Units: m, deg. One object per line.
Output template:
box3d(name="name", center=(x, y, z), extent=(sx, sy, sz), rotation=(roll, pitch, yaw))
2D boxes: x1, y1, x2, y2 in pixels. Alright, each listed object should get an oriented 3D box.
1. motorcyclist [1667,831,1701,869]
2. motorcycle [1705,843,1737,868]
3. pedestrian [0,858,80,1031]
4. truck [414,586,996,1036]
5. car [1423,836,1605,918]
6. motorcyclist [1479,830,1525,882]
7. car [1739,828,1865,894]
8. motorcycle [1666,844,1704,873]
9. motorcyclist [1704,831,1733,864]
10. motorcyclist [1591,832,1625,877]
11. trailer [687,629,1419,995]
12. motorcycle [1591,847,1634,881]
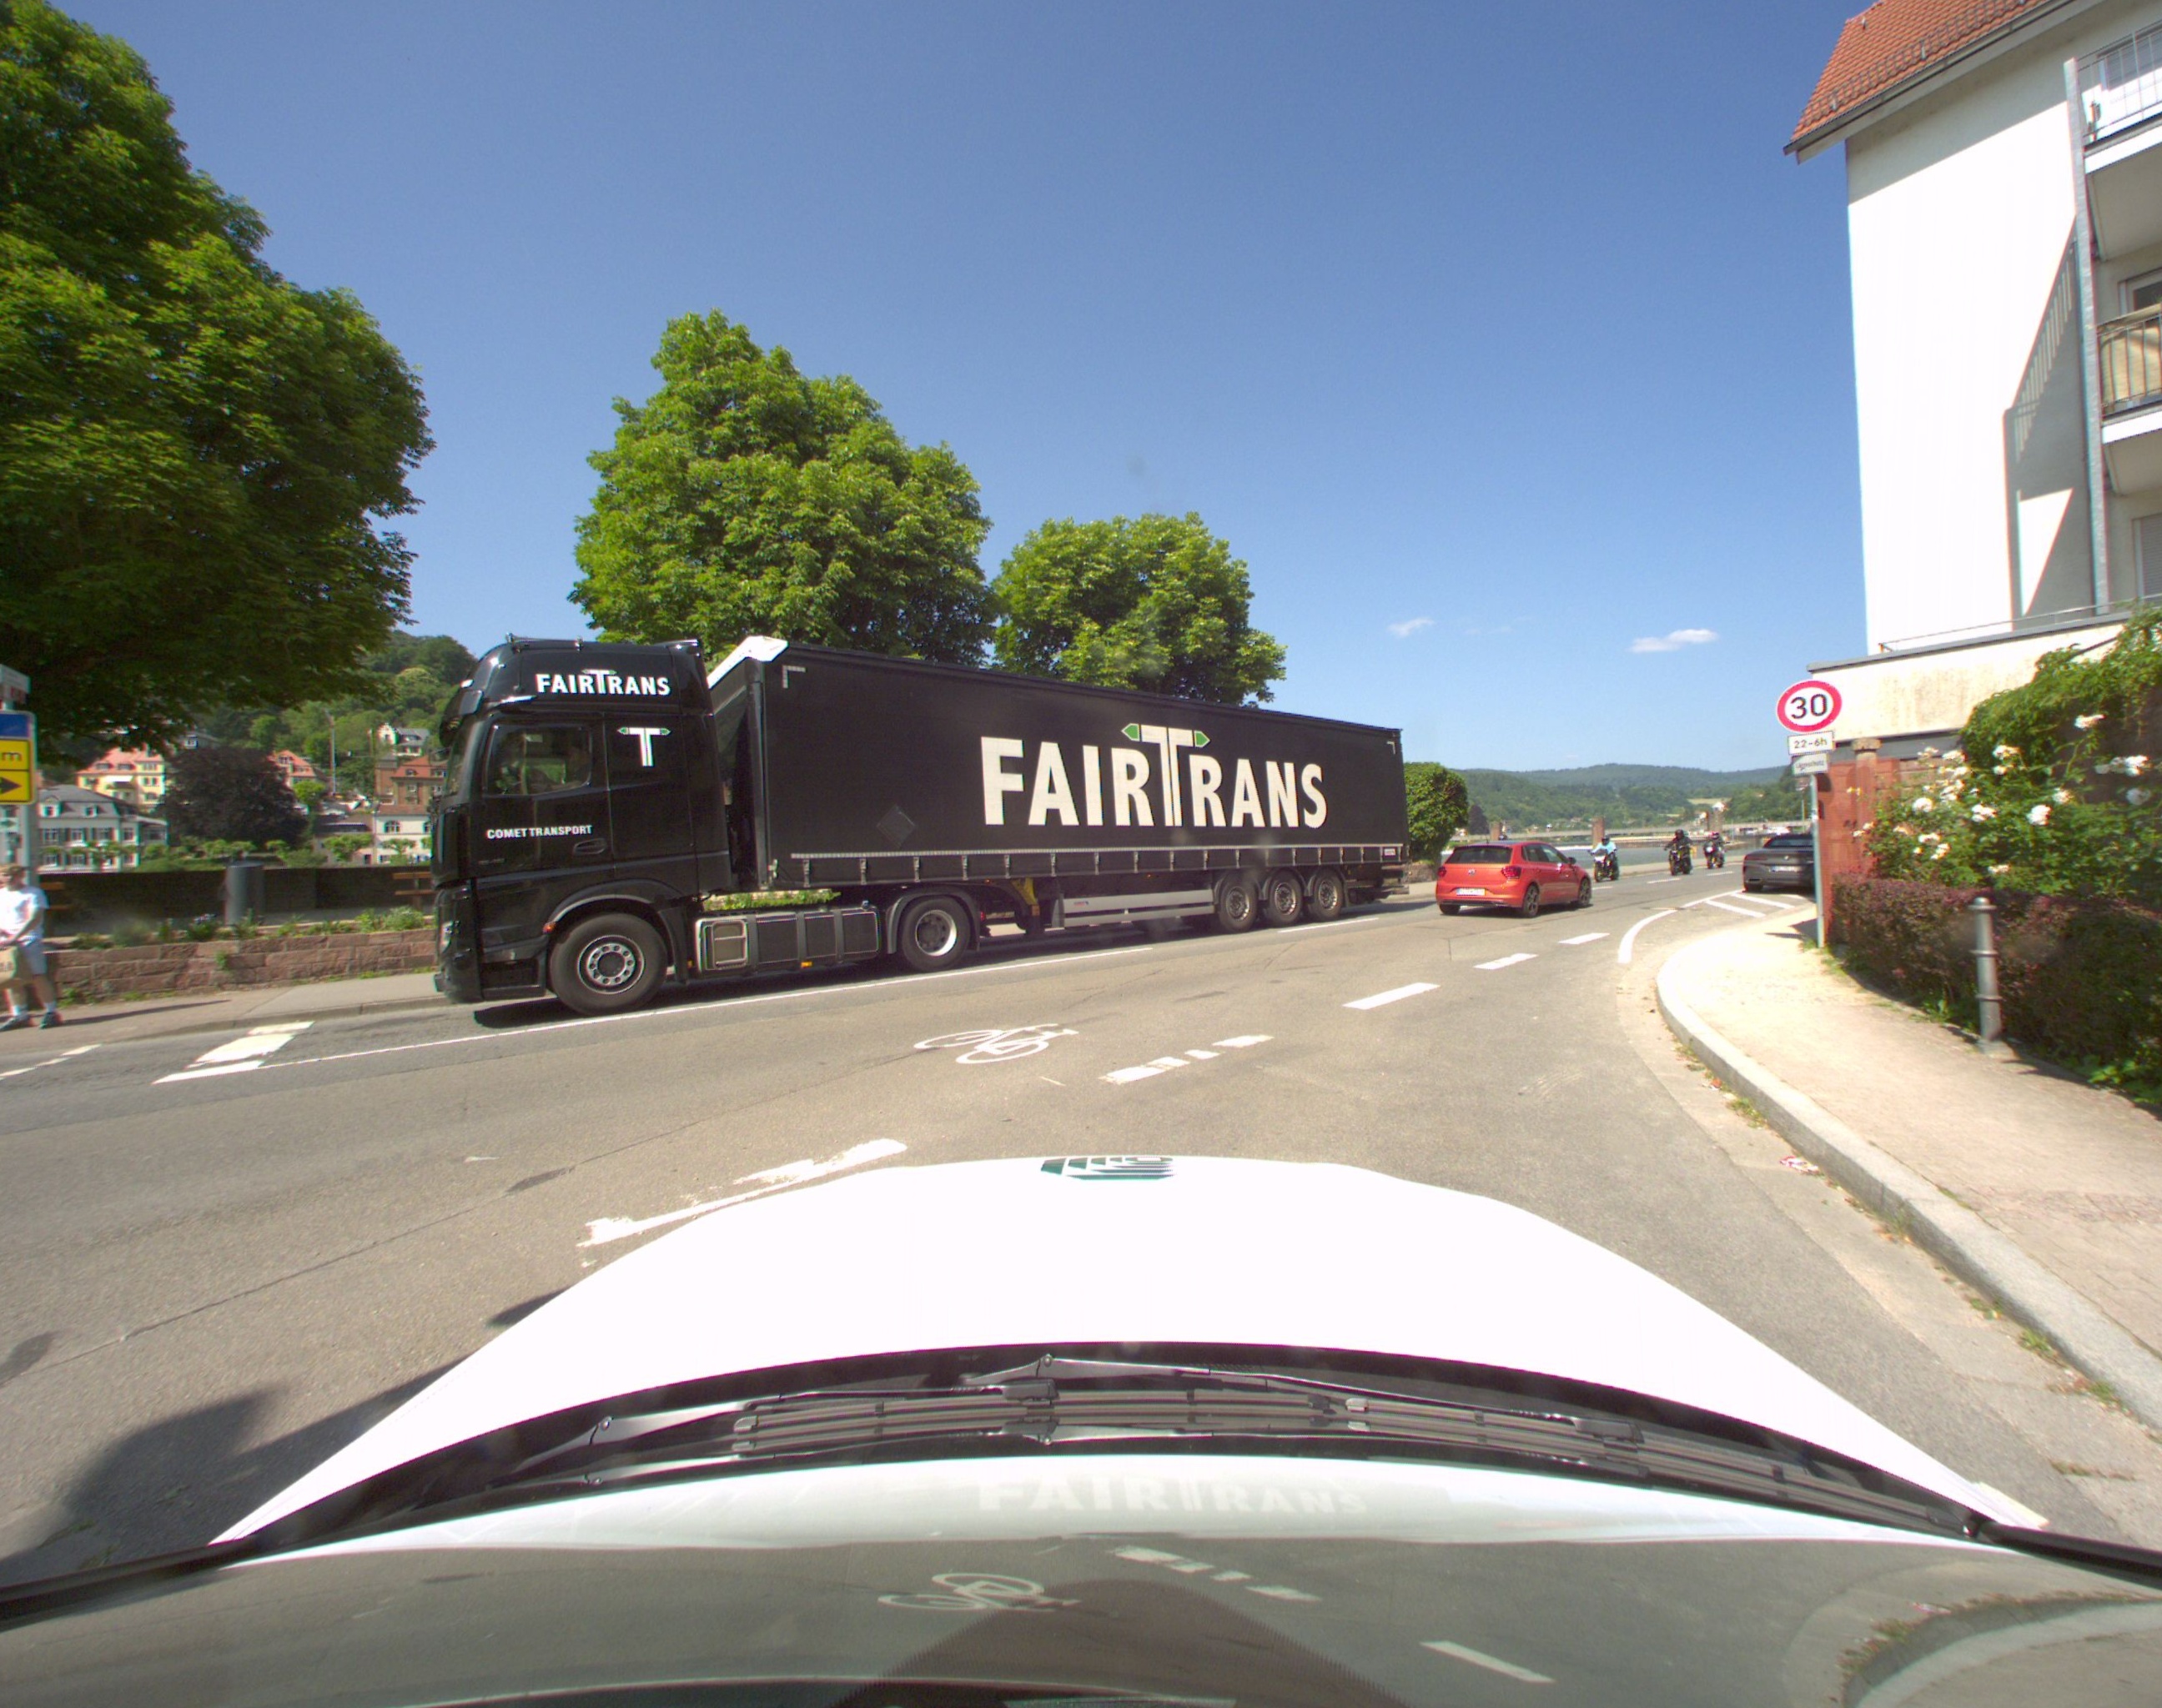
box3d(name="motorcyclist", center=(22.294, -0.151, 30.095), extent=(0.804, 1.366, 0.780), rotation=(-2, -1, -39))
box3d(name="motorcycle", center=(27.578, 0.061, 35.077), extent=(1.824, 1.024, 0.651), rotation=(-2, -1, -39))
box3d(name="pedestrian", center=(-11.466, 0.960, 8.794), extent=(0.709, 1.802, 0.573), rotation=(-2, -1, -40))
box3d(name="truck", center=(-4.460, -0.411, 10.301), extent=(5.961, 4.071, 2.807), rotation=(-2, -2, -38))
box3d(name="car", center=(8.752, 0.399, 16.335), extent=(4.037, 1.405, 1.710), rotation=(-2, -1, -38))
box3d(name="motorcyclist", center=(12.278, 0.056, 23.740), extent=(0.996, 1.460, 0.772), rotation=(-2, -2, -39))
box3d(name="car", center=(17.071, 0.121, 19.228), extent=(3.759, 1.399, 1.673), rotation=(-2, 0, -40))
box3d(name="motorcycle", center=(22.351, 0.157, 30.134), extent=(1.824, 1.024, 0.651), rotation=(-2, -1, -39))
box3d(name="motorcyclist", center=(27.388, -0.280, 34.986), extent=(0.941, 1.366, 0.711), rotation=(-2, -1, -39))
box3d(name="motorcyclist", center=(18.853, 0.019, 29.144), extent=(0.996, 1.525, 0.658), rotation=(-2, -2, -39))
box3d(name="trailer", center=(0.894, -0.609, 14.489), extent=(13.839, 4.104, 2.810), rotation=(-2, -2, -38))
box3d(name="motorcycle", center=(19.167, 0.358, 29.365), extent=(2.103, 1.123, 0.628), rotation=(-2, -3, -39))
